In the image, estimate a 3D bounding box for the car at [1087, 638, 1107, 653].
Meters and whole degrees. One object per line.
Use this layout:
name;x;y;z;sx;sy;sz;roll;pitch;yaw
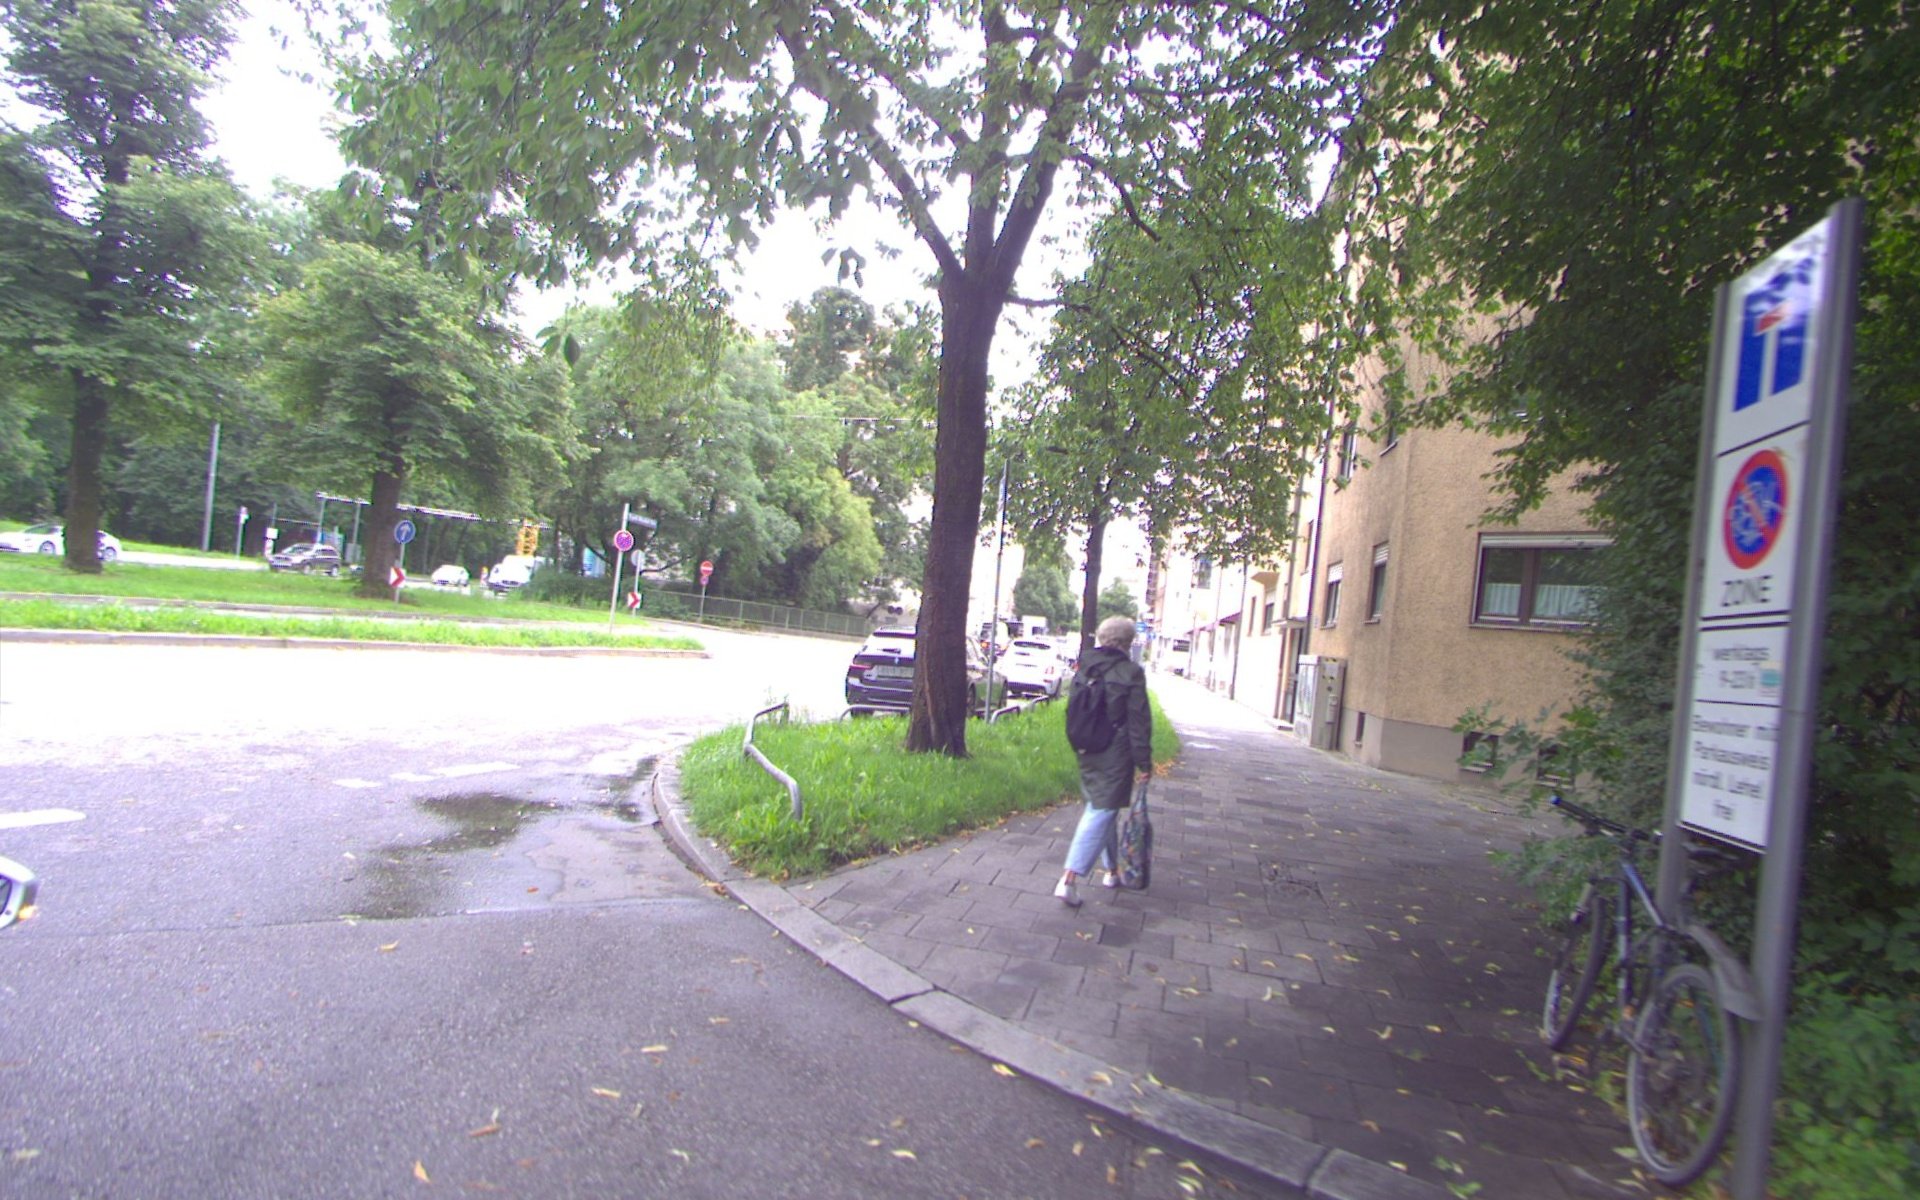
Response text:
car;15.963;5.293;117.098;1.958;1.446;4.143;6;-1;10

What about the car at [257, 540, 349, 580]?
car;-37.289;-2.255;57.247;1.962;1.738;4.651;5;-2;1

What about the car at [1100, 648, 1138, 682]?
car;9.032;3.653;56.934;1.728;1.699;4.711;5;-2;13

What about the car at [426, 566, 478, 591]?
car;-36.379;-1.519;72.153;1.801;1.463;4.234;6;-2;-6

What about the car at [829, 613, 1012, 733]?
car;-0.447;1.110;15.930;1.763;1.514;4.381;3;-2;12

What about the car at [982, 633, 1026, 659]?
car;2.978;3.047;67.341;1.958;1.446;4.908;6;-1;13

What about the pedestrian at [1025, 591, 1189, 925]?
pedestrian;0.868;0.840;5.702;0.660;1.642;0.981;6;-2;14

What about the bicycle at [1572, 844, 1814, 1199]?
bicycle;2.261;1.327;3.192;0.245;0.891;1.080;6;-1;19

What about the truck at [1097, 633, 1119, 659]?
truck;19.574;6.115;133.290;2.452;3.008;5.333;7;-1;9

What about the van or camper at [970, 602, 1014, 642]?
van or camper;2.684;1.827;82.264;2.559;2.875;6.190;6;-1;10

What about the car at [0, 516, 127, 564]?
car;-36.917;-2.437;41.054;1.962;1.463;4.426;5;-2;1

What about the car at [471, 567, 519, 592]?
car;-34.074;-1.470;73.810;1.864;1.464;4.296;6;-1;-7

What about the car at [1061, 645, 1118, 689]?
car;5.251;2.662;40.400;1.728;1.514;4.492;5;-2;13

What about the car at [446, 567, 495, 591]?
car;-37.914;-1.595;78.058;1.965;1.463;4.421;6;-2;-7

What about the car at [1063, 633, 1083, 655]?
car;14.415;5.651;128.133;1.909;2.509;4.788;7;-1;11

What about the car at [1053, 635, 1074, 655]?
car;11.634;5.028;113.188;1.962;2.037;4.004;6;-1;9

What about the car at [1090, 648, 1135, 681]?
car;7.947;3.336;52.195;1.729;1.514;3.826;5;-2;16

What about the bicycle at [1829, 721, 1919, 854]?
bicycle;10.376;1.990;10.121;2.385;1.232;0.705;6;-1;9

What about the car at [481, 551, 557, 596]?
car;-27.897;-1.653;63.889;2.265;2.296;5.131;6;-2;1

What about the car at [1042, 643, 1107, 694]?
car;4.058;2.365;35.195;1.663;1.514;4.439;5;-2;13

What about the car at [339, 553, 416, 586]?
car;-33.097;-1.714;57.309;1.862;1.463;4.035;6;-1;1

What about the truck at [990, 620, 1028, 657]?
truck;4.565;3.513;92.461;2.729;2.908;7.206;6;-1;7

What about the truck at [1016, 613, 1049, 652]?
truck;8.338;3.740;115.299;2.964;3.998;7.002;7;-1;8

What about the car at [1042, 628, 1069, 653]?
car;8.854;3.705;92.995;1.962;2.038;4.002;6;0;9

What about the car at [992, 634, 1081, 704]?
car;2.022;1.737;25.691;1.602;1.514;3.825;5;-2;13

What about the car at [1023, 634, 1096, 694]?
car;3.039;1.897;30.050;1.602;1.514;3.791;5;-2;13

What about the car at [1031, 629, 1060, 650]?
car;7.224;3.299;84.264;1.958;1.446;4.143;6;-1;10
